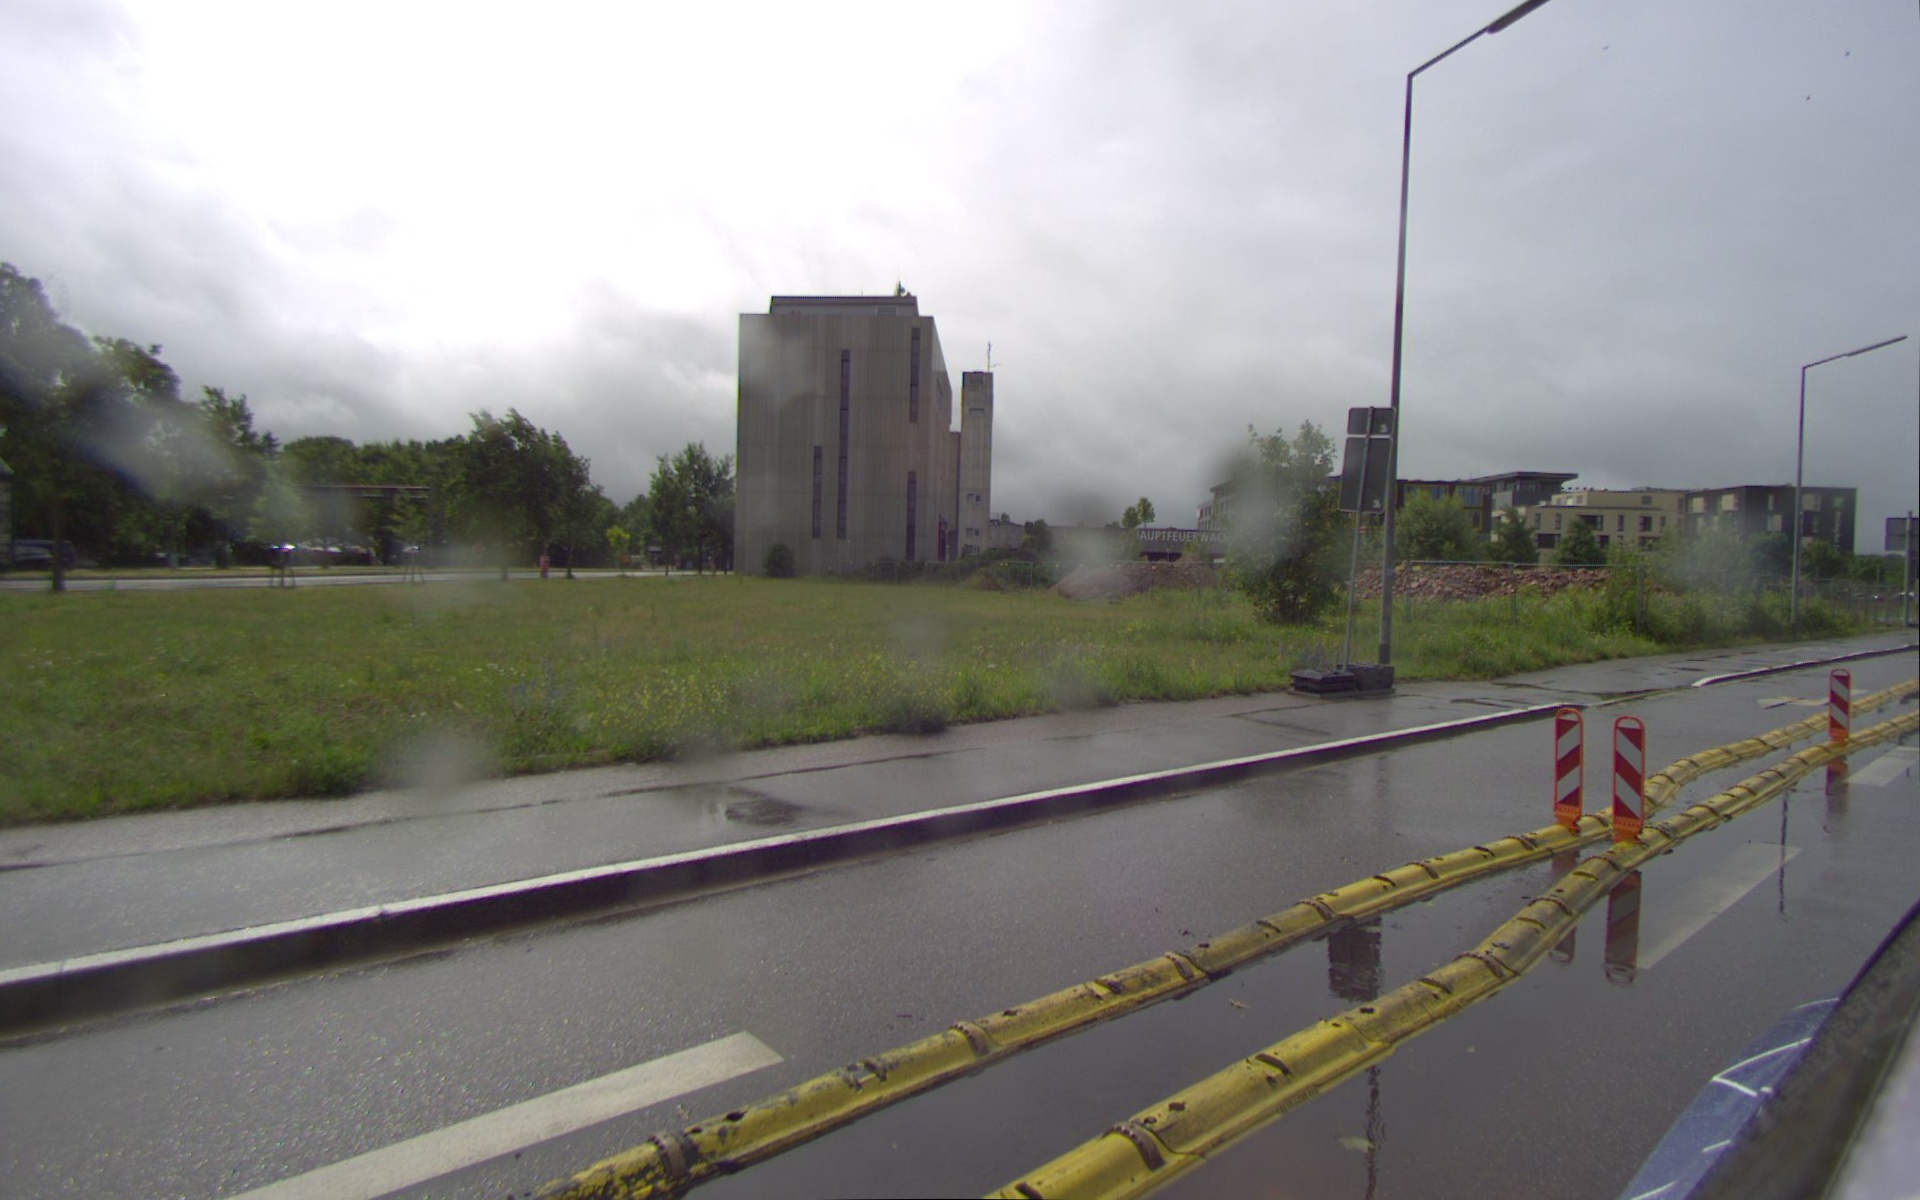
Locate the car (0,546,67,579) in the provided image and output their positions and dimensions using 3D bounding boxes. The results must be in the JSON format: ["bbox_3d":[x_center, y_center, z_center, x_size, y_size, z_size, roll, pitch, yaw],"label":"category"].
[{"bbox_3d":[-47.923,-1.918,51.612,1.515,1.578,3.521,1,2,4],"label":"car"}]

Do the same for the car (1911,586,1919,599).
[{"bbox_3d":[148.479,-1.077,154.792,3.931,2.039,1.997,1,1,7],"label":"car"}]
